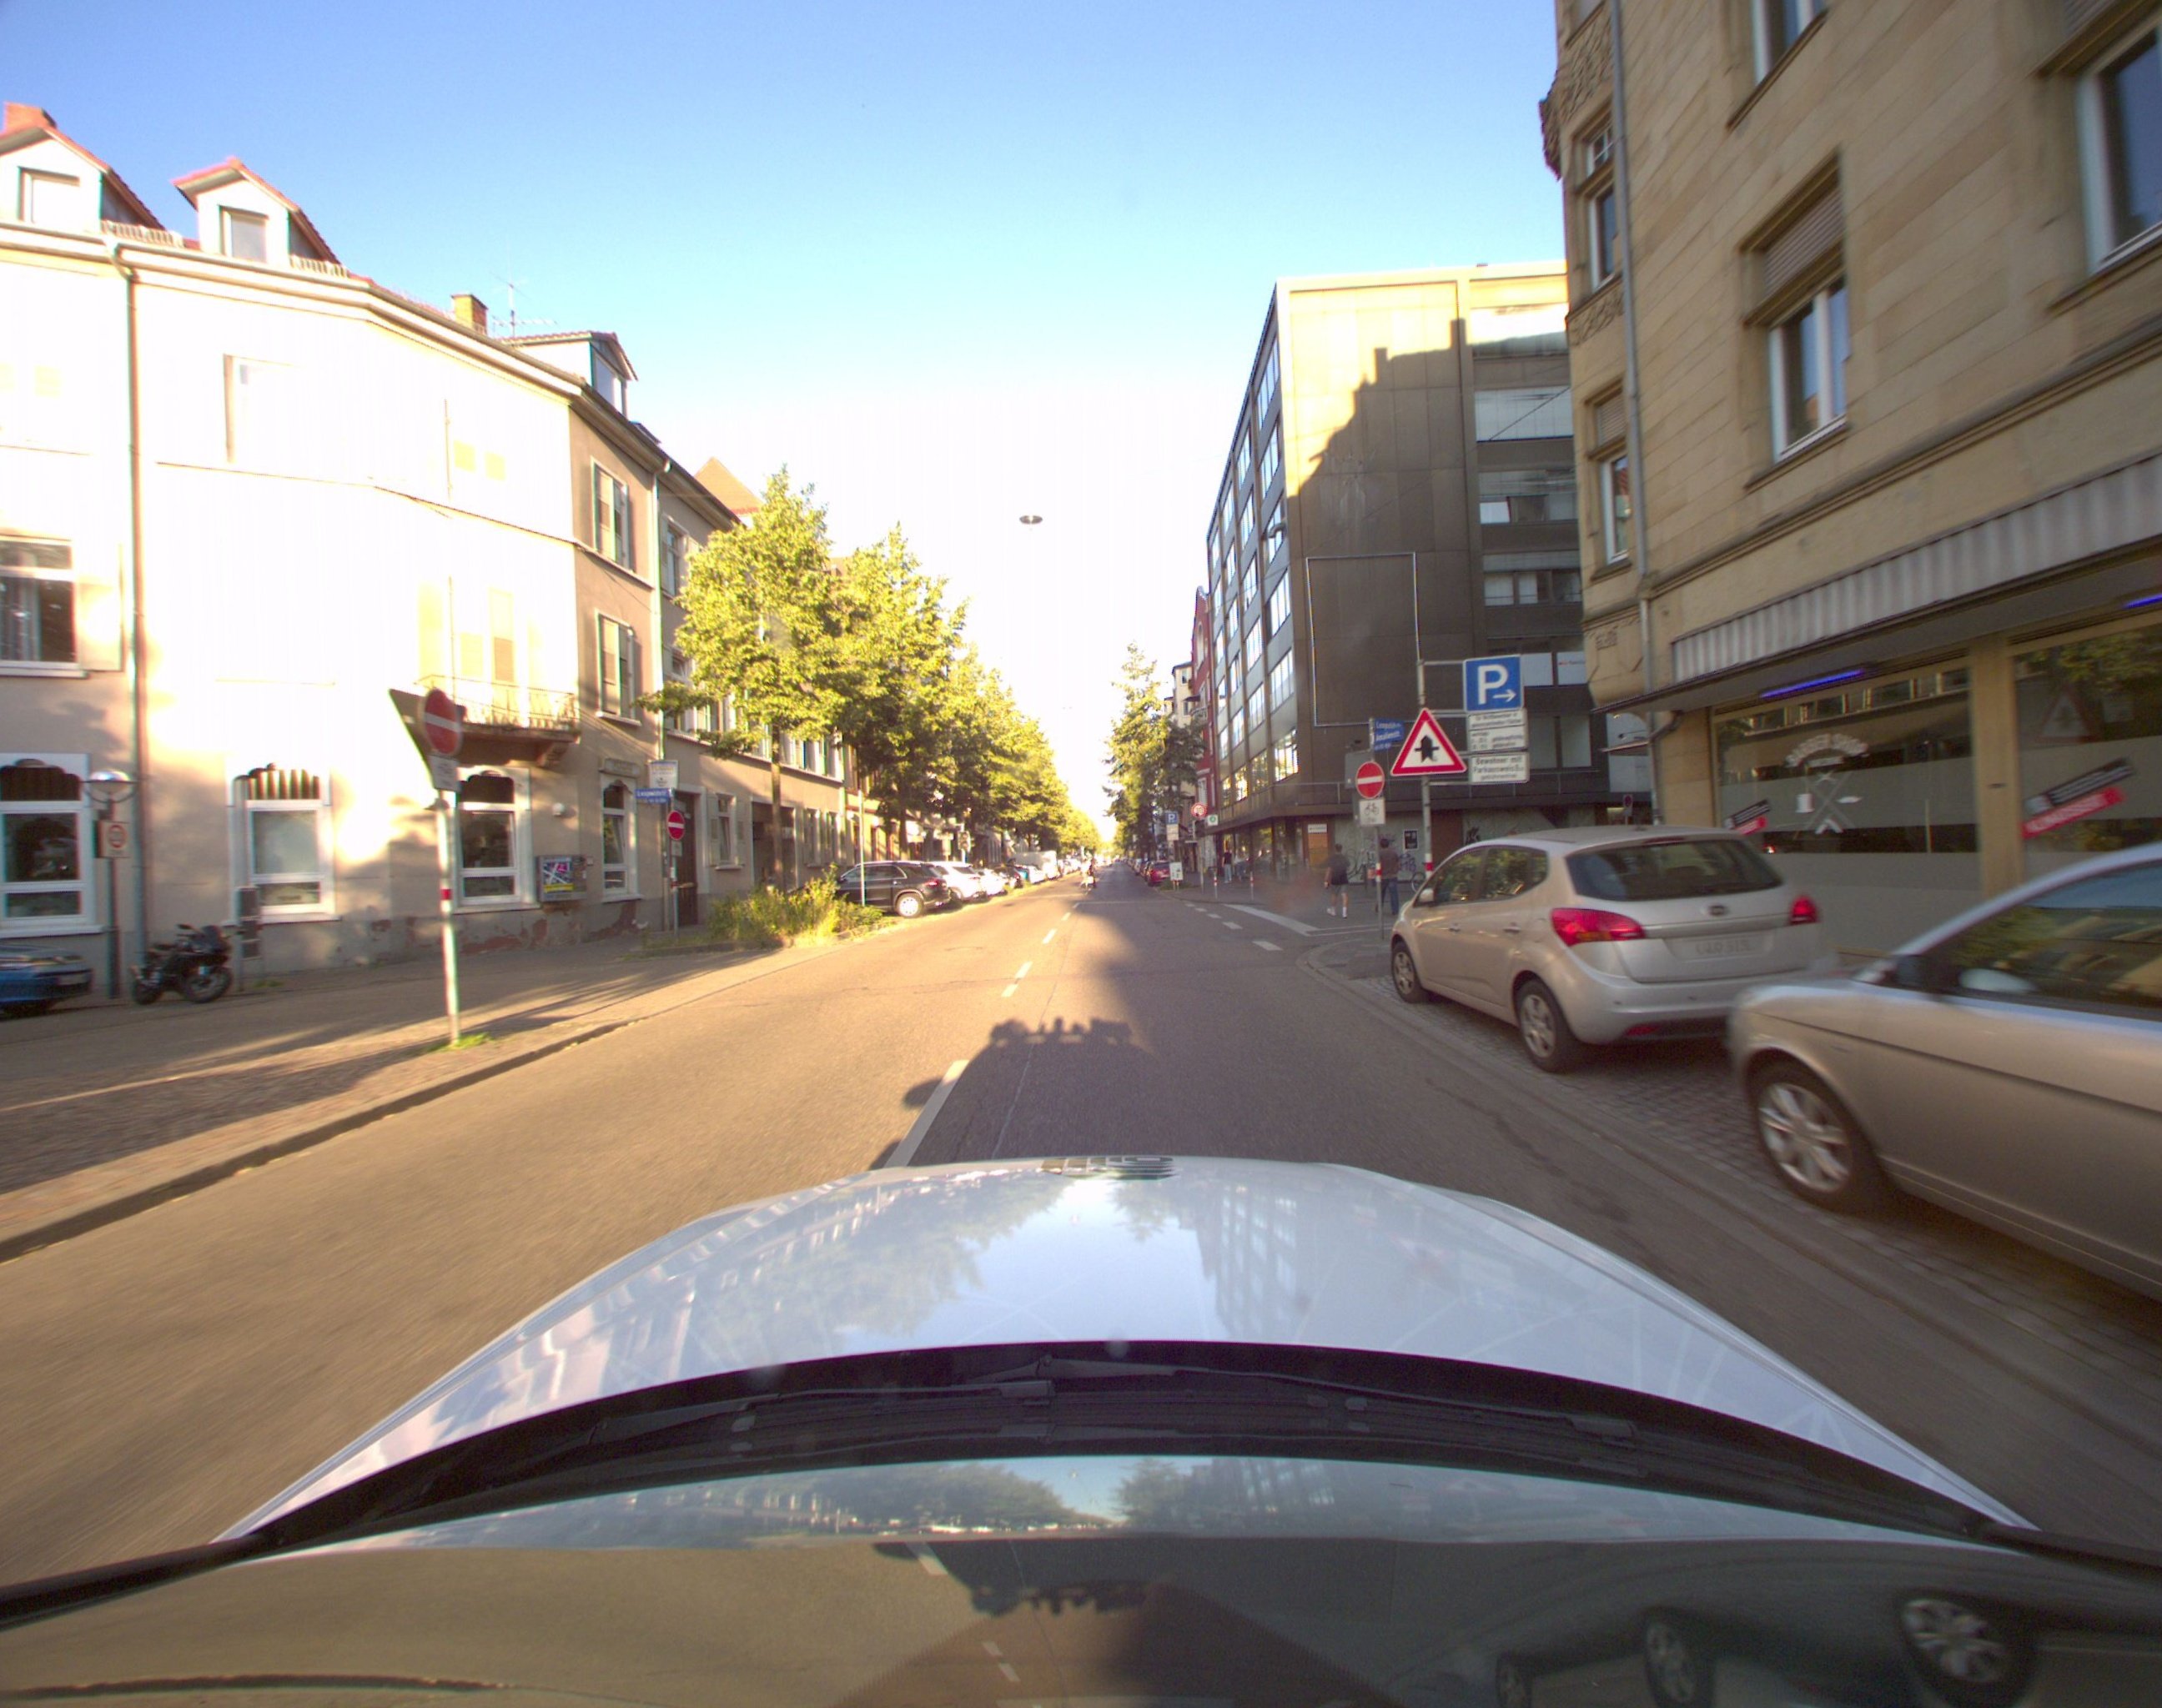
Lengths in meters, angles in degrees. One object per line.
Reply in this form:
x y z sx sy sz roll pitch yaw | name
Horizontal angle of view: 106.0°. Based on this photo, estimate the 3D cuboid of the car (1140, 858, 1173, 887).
4.509 1.116 49.274 1.572 1.543 3.396 -4 -1 0 | car

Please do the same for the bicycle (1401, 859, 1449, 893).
11.046 0.704 26.210 0.415 1.030 1.681 -3 0 -16 | bicycle

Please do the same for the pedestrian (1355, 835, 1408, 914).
6.959 0.459 18.923 0.752 1.767 1.222 -1 0 1 | pedestrian

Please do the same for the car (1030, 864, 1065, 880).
-3.638 2.004 88.991 3.573 1.595 1.701 -2 -1 1 | car

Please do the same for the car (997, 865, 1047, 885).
-4.734 1.683 65.830 3.725 1.450 2.001 -2 -1 1 | car

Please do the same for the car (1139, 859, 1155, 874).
5.966 1.138 74.000 1.202 1.300 2.660 -2 -1 0 | car

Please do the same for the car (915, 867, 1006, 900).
-6.007 1.443 40.857 4.159 1.507 2.001 -1 -1 1 | car

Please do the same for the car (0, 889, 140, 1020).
-16.487 1.451 11.026 4.439 1.677 1.945 -2 0 -24 | car

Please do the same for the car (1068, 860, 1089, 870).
-0.443 1.963 147.329 3.725 1.708 2.001 -1 0 1 | car

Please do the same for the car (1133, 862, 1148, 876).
5.902 1.475 81.193 1.202 1.300 2.660 -2 -1 0 | car

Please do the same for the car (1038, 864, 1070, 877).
-3.351 1.972 100.456 3.725 1.450 2.001 -2 -1 1 | car

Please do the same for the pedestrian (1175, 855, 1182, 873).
8.568 0.874 71.416 0.531 1.622 0.534 -1 0 2 | pedestrian

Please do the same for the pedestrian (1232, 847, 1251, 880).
8.423 0.512 42.807 0.763 1.689 0.786 -3 0 0 | pedestrian

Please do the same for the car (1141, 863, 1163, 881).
5.240 1.337 60.265 1.301 1.293 3.011 0 -1 -2 | car

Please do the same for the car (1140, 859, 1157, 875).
5.833 1.141 70.949 1.202 1.300 2.660 -2 -1 0 | car

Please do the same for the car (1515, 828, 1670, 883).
15.983 0.029 25.462 4.256 1.581 1.985 -1 0 -23 | car

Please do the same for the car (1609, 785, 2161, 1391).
3.607 0.554 2.395 1.672 1.561 4.005 -4 0 5 | car

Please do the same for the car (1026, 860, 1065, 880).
-3.566 1.639 82.935 3.725 1.859 2.001 -1 0 1 | car

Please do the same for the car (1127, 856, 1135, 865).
9.351 1.299 153.619 1.305 1.600 2.660 -2 -1 0 | car

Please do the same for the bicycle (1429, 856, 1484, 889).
12.228 0.596 26.585 0.416 1.038 1.761 -3 0 -24 | bicycle

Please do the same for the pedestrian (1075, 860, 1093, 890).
0.188 1.227 47.614 0.720 1.673 0.702 -1 -1 -38 | pedestrian

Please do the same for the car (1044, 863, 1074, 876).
-2.820 1.976 105.070 3.725 1.493 2.001 -2 -1 1 | car

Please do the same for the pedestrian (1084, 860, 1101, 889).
0.684 1.213 48.574 0.727 1.683 0.749 0 -1 -38 | pedestrian

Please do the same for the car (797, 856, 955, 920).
-6.455 1.060 25.968 4.432 1.835 2.034 -1 -1 1 | car

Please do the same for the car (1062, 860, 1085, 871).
-1.214 1.963 138.770 3.725 1.708 2.001 -1 0 1 | car

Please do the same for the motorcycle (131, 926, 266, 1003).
-13.561 1.663 12.512 2.073 1.031 0.751 -2 0 23 | motorcycle

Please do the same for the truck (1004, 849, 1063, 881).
-4.193 0.954 72.172 4.922 2.615 2.001 -2 -1 1 | truck

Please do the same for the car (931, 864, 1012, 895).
-6.461 1.498 48.299 4.410 1.599 2.001 -2 -1 1 | car

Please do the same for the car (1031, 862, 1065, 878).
-3.792 1.788 93.241 3.725 1.708 2.001 -2 -1 1 | car

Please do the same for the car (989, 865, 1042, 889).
-4.875 1.731 60.903 3.726 1.596 2.000 -2 -3 1 | car

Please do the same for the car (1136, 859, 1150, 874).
6.746 1.360 88.323 1.305 1.600 2.660 -2 -1 0 | car

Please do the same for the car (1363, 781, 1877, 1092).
3.892 0.494 6.840 1.690 1.769 4.002 -3 0 2 | car

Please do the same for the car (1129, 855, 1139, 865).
8.634 0.990 132.766 1.305 1.600 2.660 -2 -1 0 | car

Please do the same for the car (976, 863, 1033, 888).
-5.410 1.521 58.047 3.725 1.642 2.001 -1 0 1 | car

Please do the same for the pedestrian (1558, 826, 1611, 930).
8.271 0.384 13.389 0.422 1.666 0.584 -1 0 -11 | pedestrian

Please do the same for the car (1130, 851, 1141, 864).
7.181 0.522 107.345 1.305 1.600 2.660 -2 -1 0 | car

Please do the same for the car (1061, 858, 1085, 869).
-1.217 1.556 130.227 3.725 1.708 2.001 -1 0 1 | car

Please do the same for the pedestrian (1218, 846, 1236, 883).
7.637 0.545 42.661 0.712 1.866 0.679 -2 0 -1 | pedestrian

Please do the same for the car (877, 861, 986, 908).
-5.933 1.189 32.643 3.975 1.708 1.834 -1 0 1 | car

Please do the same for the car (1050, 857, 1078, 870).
-2.297 1.339 112.655 3.725 1.708 2.001 -1 0 1 | car

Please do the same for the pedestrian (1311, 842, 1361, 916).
5.895 0.559 18.900 0.752 1.640 1.259 -1 0 1 | pedestrian

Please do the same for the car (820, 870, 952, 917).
-6.638 1.327 28.044 4.017 1.444 1.831 -1 0 1 | car

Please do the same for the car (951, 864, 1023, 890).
-6.105 1.474 53.196 4.410 1.503 2.001 -2 -1 1 | car
